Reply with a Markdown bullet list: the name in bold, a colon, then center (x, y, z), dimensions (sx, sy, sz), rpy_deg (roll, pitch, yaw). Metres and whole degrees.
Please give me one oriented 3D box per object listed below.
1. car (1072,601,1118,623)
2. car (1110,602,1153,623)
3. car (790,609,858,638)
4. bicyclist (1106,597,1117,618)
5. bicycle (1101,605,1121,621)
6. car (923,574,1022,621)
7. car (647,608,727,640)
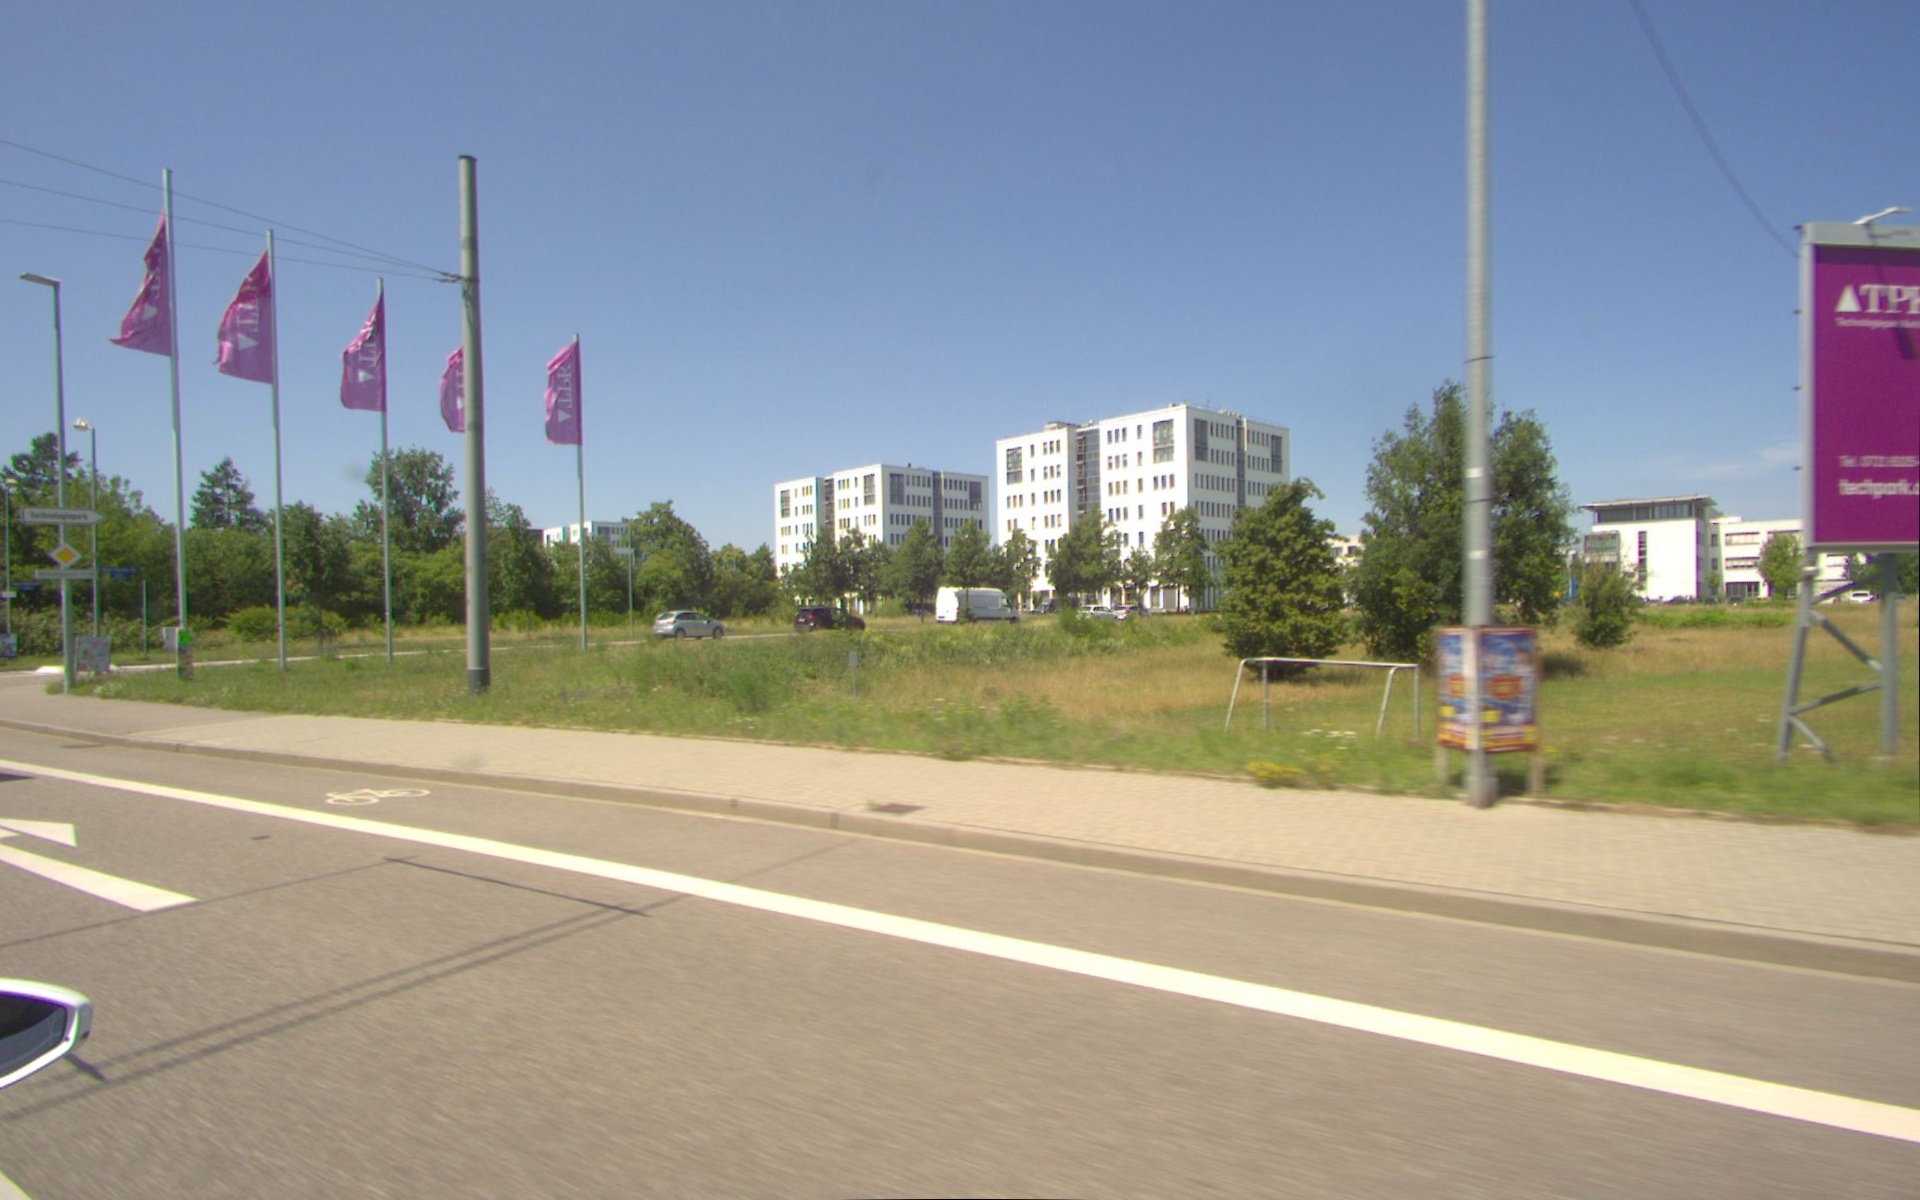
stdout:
- **car**: center (10.155, 0.952, 75.272), dimensions (1.688, 1.552, 3.597), rpy_deg (-1, -2, 43)
- **car**: center (13.519, 1.026, 78.905), dimensions (1.688, 1.552, 3.597), rpy_deg (-1, -2, 43)
- **car**: center (-7.459, 1.300, 55.096), dimensions (1.684, 1.552, 3.604), rpy_deg (-1, -2, 38)
- **bicyclist**: center (12.171, 0.603, 80.416), dimensions (0.602, 1.646, 0.686), rpy_deg (3, 3, 43)
- **bicycle**: center (12.170, 1.028, 80.436), dimensions (0.607, 1.196, 1.948), rpy_deg (2, 3, 42)
- **car**: center (0.885, -0.083, 65.282), dimensions (2.639, 2.838, 6.796), rpy_deg (-2, -2, 42)
- **car**: center (-13.985, 1.259, 51.421), dimensions (1.687, 1.552, 3.598), rpy_deg (-1, -2, 42)
